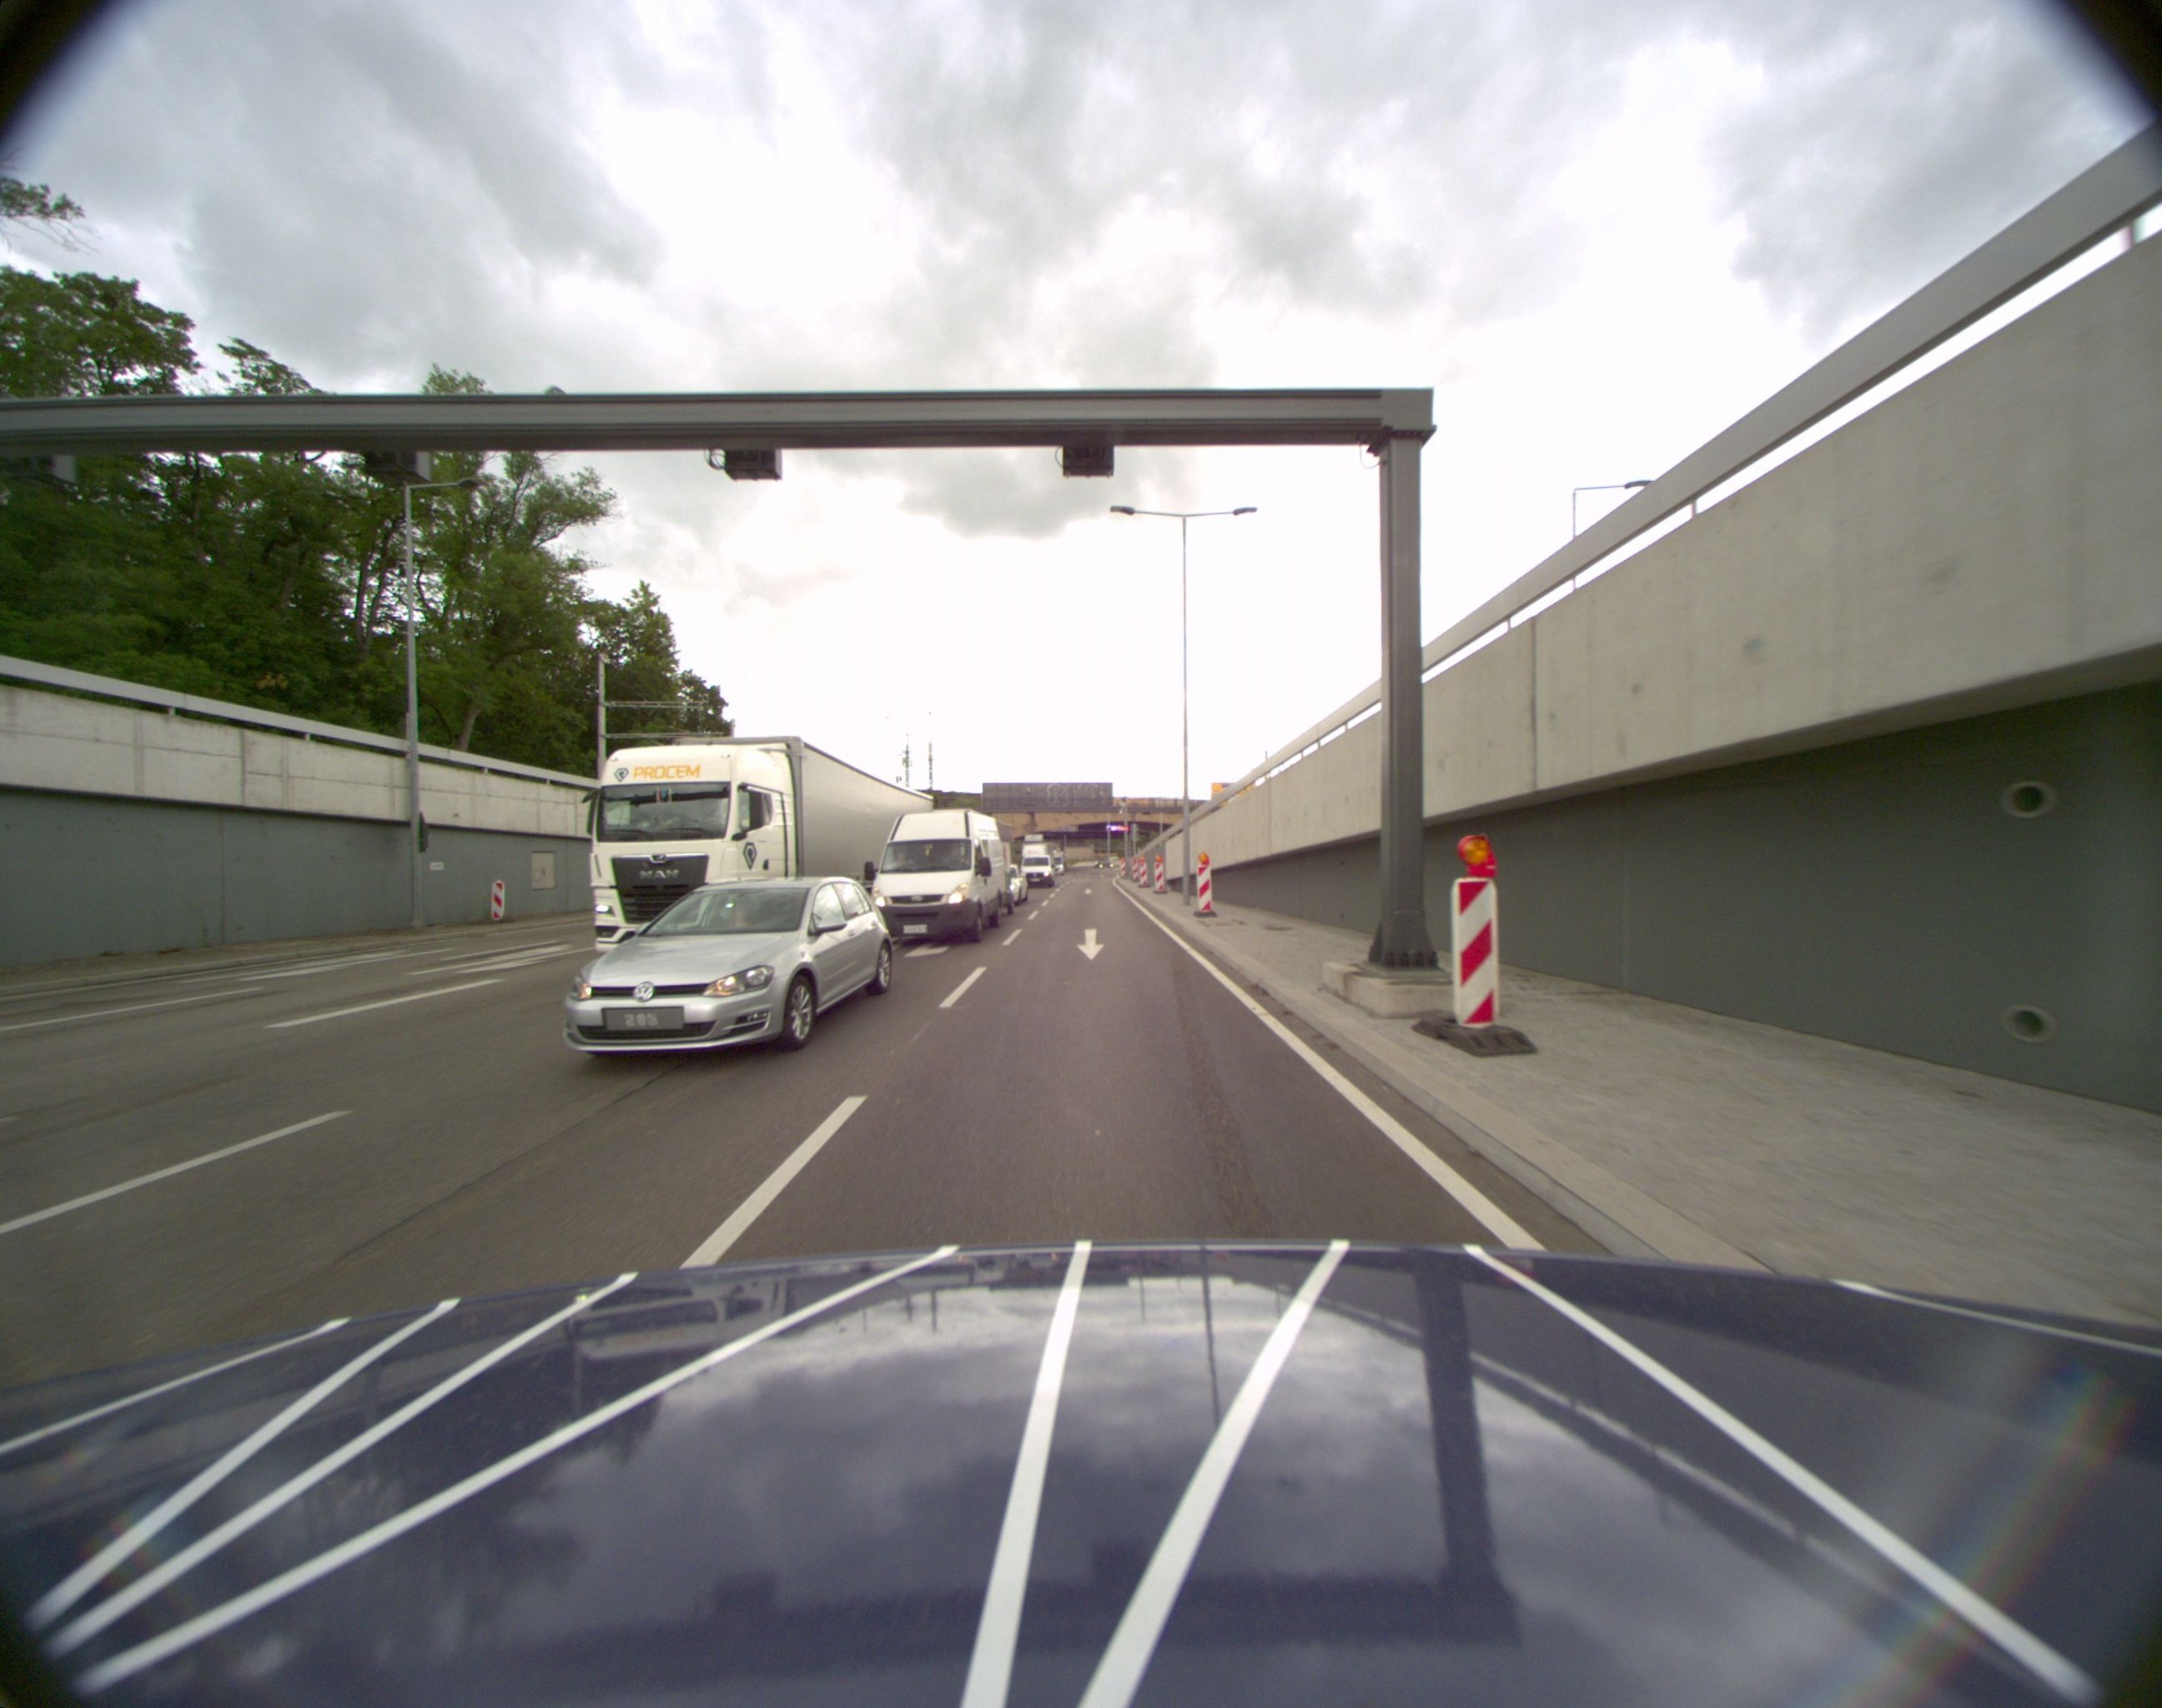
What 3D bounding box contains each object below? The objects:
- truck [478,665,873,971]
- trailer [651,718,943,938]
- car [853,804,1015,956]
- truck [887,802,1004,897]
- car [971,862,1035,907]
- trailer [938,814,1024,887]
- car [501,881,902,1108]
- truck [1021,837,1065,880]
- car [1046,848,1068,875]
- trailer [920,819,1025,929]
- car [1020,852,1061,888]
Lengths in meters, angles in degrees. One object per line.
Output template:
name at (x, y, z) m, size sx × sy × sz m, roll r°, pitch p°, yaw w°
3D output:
truck at (-7.315, -0.556, 15.542) m, size 3.814 × 4.604 × 7.442 m, roll -3°, pitch 0°, yaw 1°
trailer at (-7.257, -0.562, 22.548) m, size 3.814 × 4.604 × 12.113 m, roll -3°, pitch 0°, yaw 1°
car at (-2.847, 0.423, 16.330) m, size 2.063 × 2.613 × 5.942 m, roll -2°, pitch 1°, yaw 2°
truck at (-6.583, -0.212, 39.380) m, size 3.733 × 4.117 × 10.983 m, roll -2°, pitch 0°, yaw 1°
car at (-2.769, 1.067, 27.861) m, size 1.720 × 1.390 × 4.347 m, roll -1°, pitch 0°, yaw 2°
trailer at (-6.315, -0.224, 50.362) m, size 3.733 × 4.117 × 10.984 m, roll -2°, pitch 0°, yaw 2°
car at (-3.142, 1.068, 7.363) m, size 1.768 × 1.375 × 4.038 m, roll -1°, pitch 1°, yaw 1°
truck at (-3.531, 0.323, 72.519) m, size 3.032 × 3.566 × 8.951 m, roll -5°, pitch 1°, yaw 3°
car at (-2.769, 0.844, 88.615) m, size 2.160 × 2.880 × 6.210 m, roll -2°, pitch 0°, yaw 1°
trailer at (-2.782, 0.419, 20.648) m, size 2.108 × 2.624 × 4.808 m, roll -1°, pitch 2°, yaw 0°
car at (-2.334, 0.887, 45.368) m, size 1.998 × 1.978 × 5.199 m, roll -2°, pitch 0°, yaw 1°
